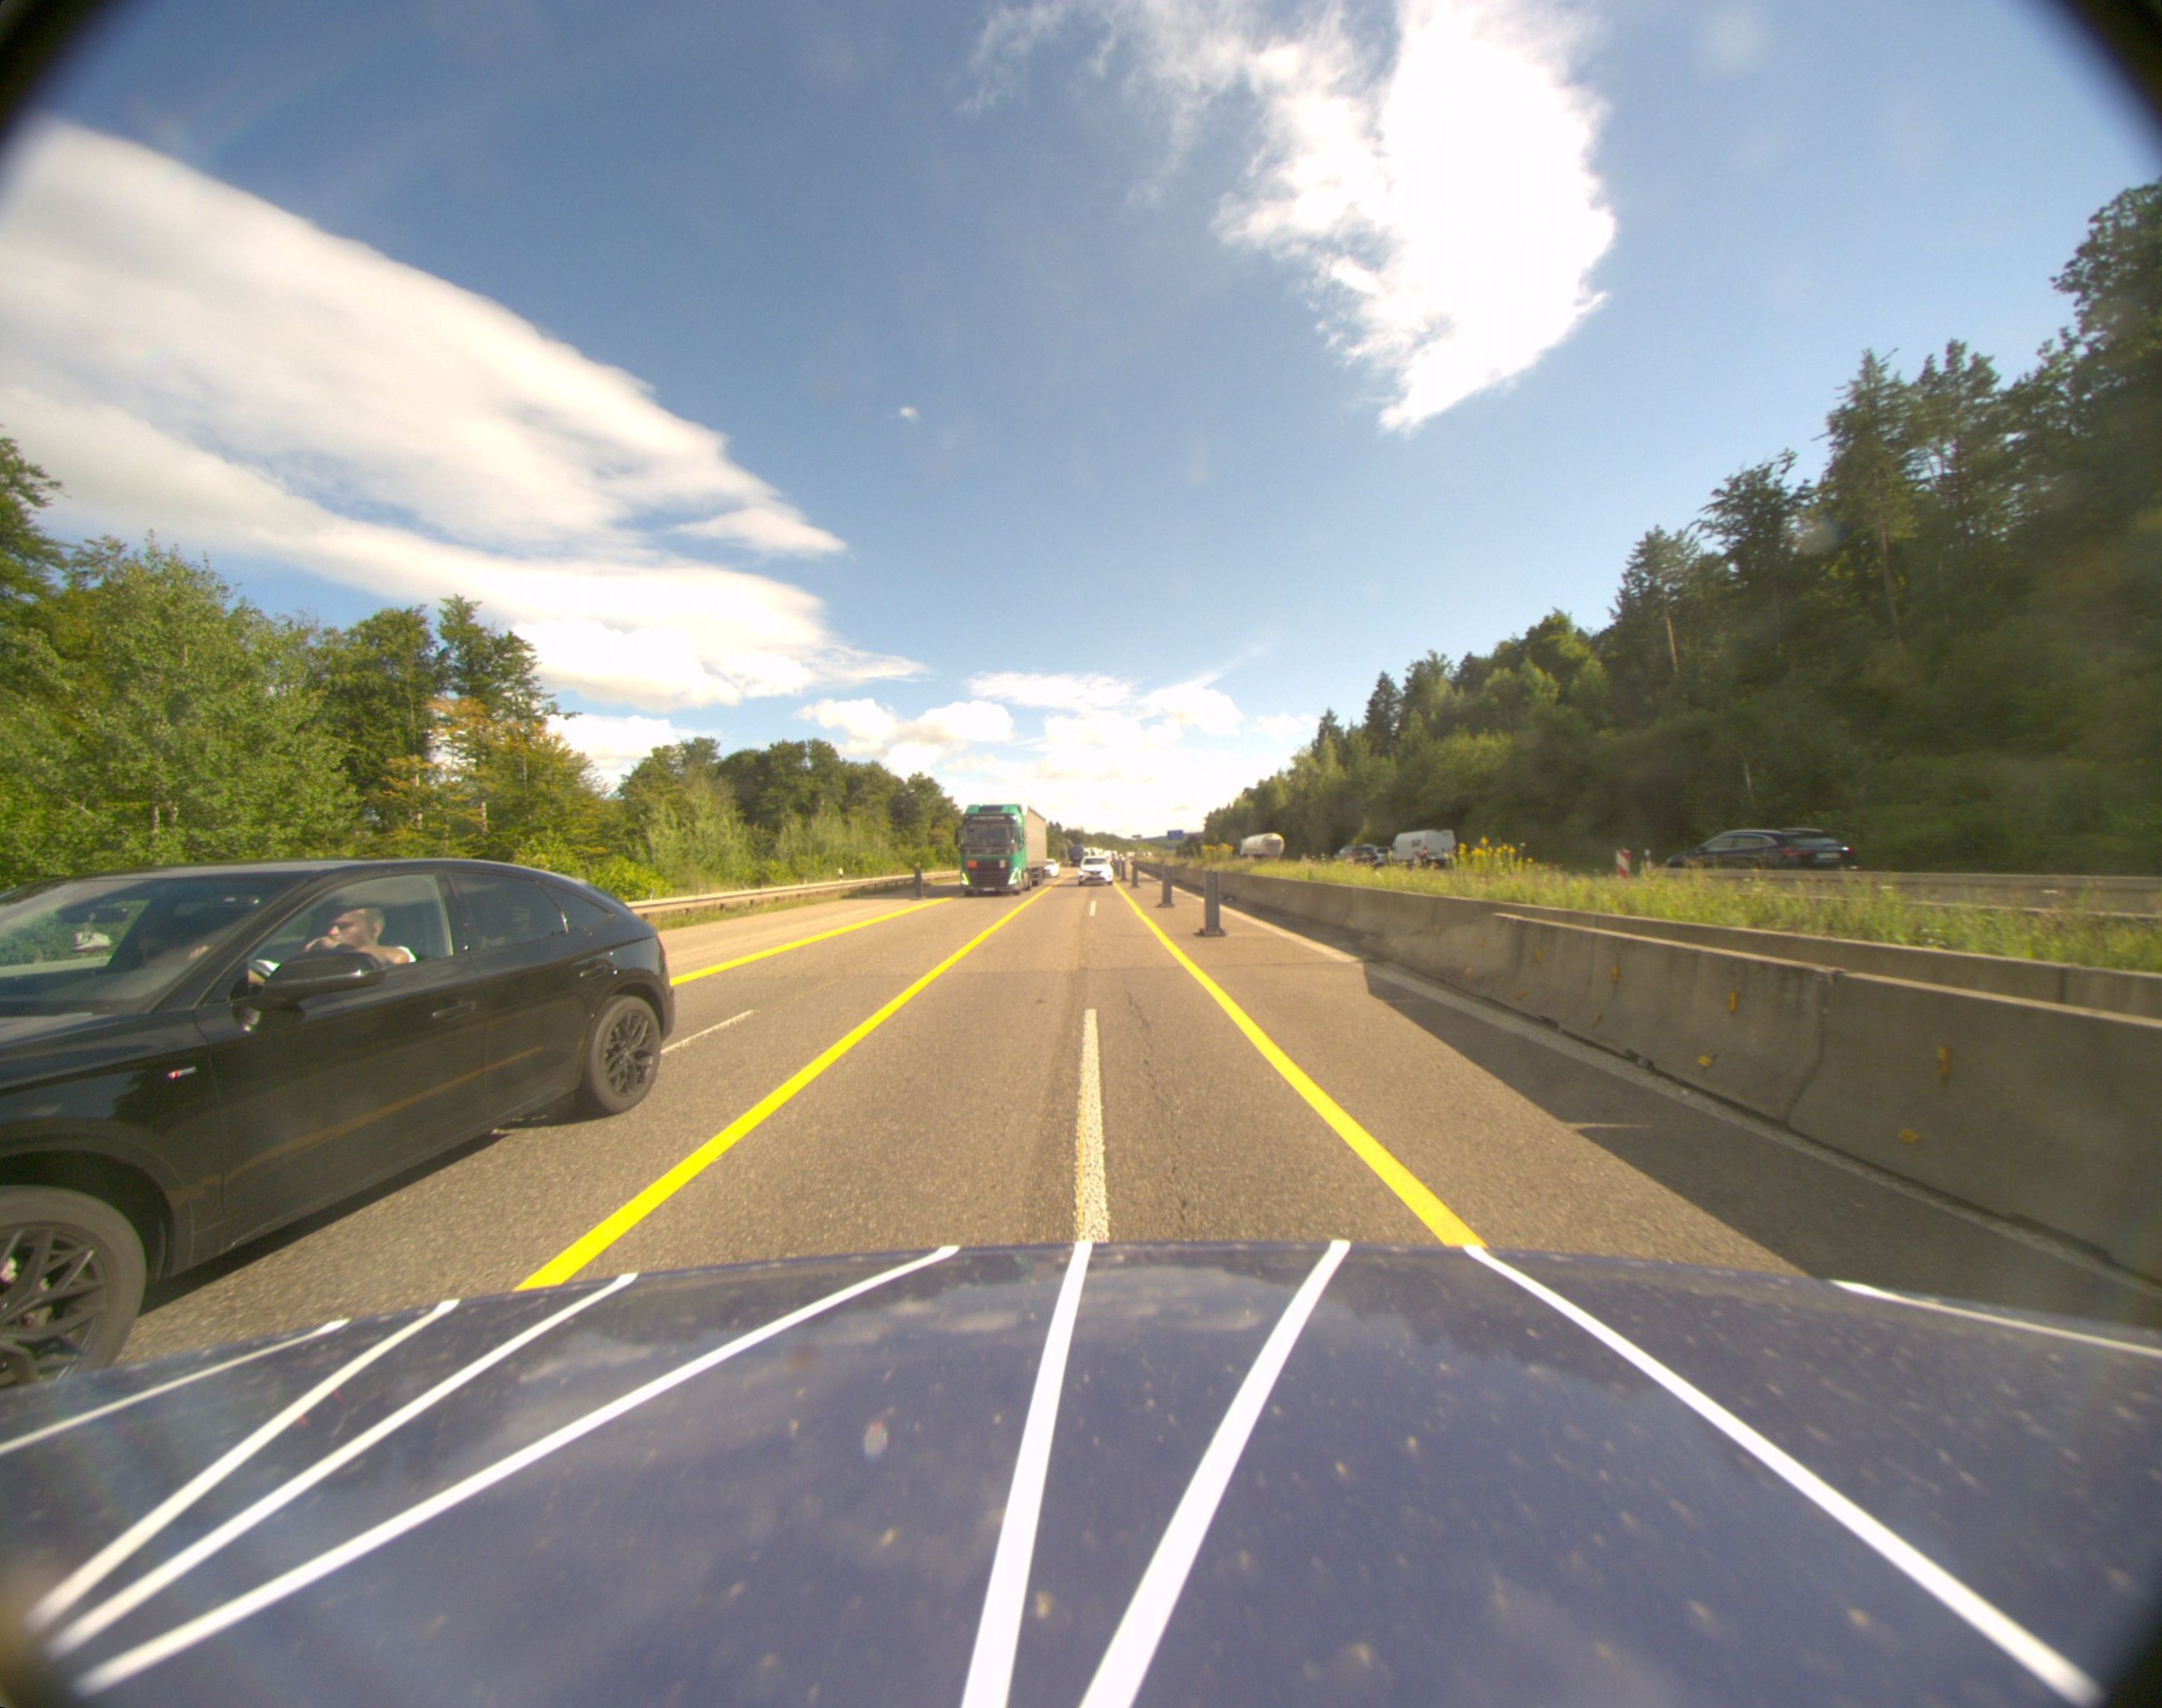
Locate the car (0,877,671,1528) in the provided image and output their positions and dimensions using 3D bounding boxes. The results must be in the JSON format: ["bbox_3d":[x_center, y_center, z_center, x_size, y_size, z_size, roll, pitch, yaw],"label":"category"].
[{"bbox_3d":[-3.749,1.002,3.034,1.782,1.593,4.293,-2,1,1],"label":"car"}]

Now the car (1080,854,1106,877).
[{"bbox_3d":[0.898,0.814,54.506,1.782,1.468,4.018,-2,1,2],"label":"car"}]

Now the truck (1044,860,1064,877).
[{"bbox_3d":[-2.171,1.152,62.053,1.468,1.215,3.087,-2,1,0],"label":"truck"}]

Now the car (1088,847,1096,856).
[{"bbox_3d":[2.363,-0.603,163.404,1.750,1.787,4.000,-2,1,2],"label":"car"}]

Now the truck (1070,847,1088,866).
[{"bbox_3d":[-0.282,0.421,131.639,2.576,3.167,6.803,-2,1,4],"label":"truck"}]

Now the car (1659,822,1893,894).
[{"bbox_3d":[17.633,0.072,19.655,1.963,1.579,4.482,-2,1,1],"label":"car"}]

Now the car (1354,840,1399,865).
[{"bbox_3d":[23.783,-0.127,61.346,1.865,1.843,4.762,-2,1,2],"label":"car"}]

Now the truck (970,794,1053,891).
[{"bbox_3d":[-3.298,-0.464,40.251,2.470,4.119,14.212,-2,0,2],"label":"truck"}]

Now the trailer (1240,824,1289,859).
[{"bbox_3d":[19.840,-1.286,82.866,2.808,3.469,11.113,-2,0,2],"label":"trailer"}]

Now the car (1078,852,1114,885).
[{"bbox_3d":[0.830,0.747,40.431,1.782,1.593,4.018,-2,1,2],"label":"car"}]

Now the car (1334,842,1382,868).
[{"bbox_3d":[18.124,0.033,49.874,1.782,1.593,4.018,-2,1,2],"label":"car"}]

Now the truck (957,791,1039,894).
[{"bbox_3d":[-3.525,-0.490,33.917,2.527,4.075,6.856,-2,1,2],"label":"truck"}]

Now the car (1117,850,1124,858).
[{"bbox_3d":[11.710,-0.024,224.318,1.998,2.002,4.001,-2,1,4],"label":"car"}]

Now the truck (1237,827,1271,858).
[{"bbox_3d":[20.016,-1.331,88.089,2.791,3.469,4.939,-2,1,2],"label":"truck"}]

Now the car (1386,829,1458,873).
[{"bbox_3d":[22.823,-0.219,51.156,2.033,2.669,6.523,-2,1,2],"label":"car"}]
